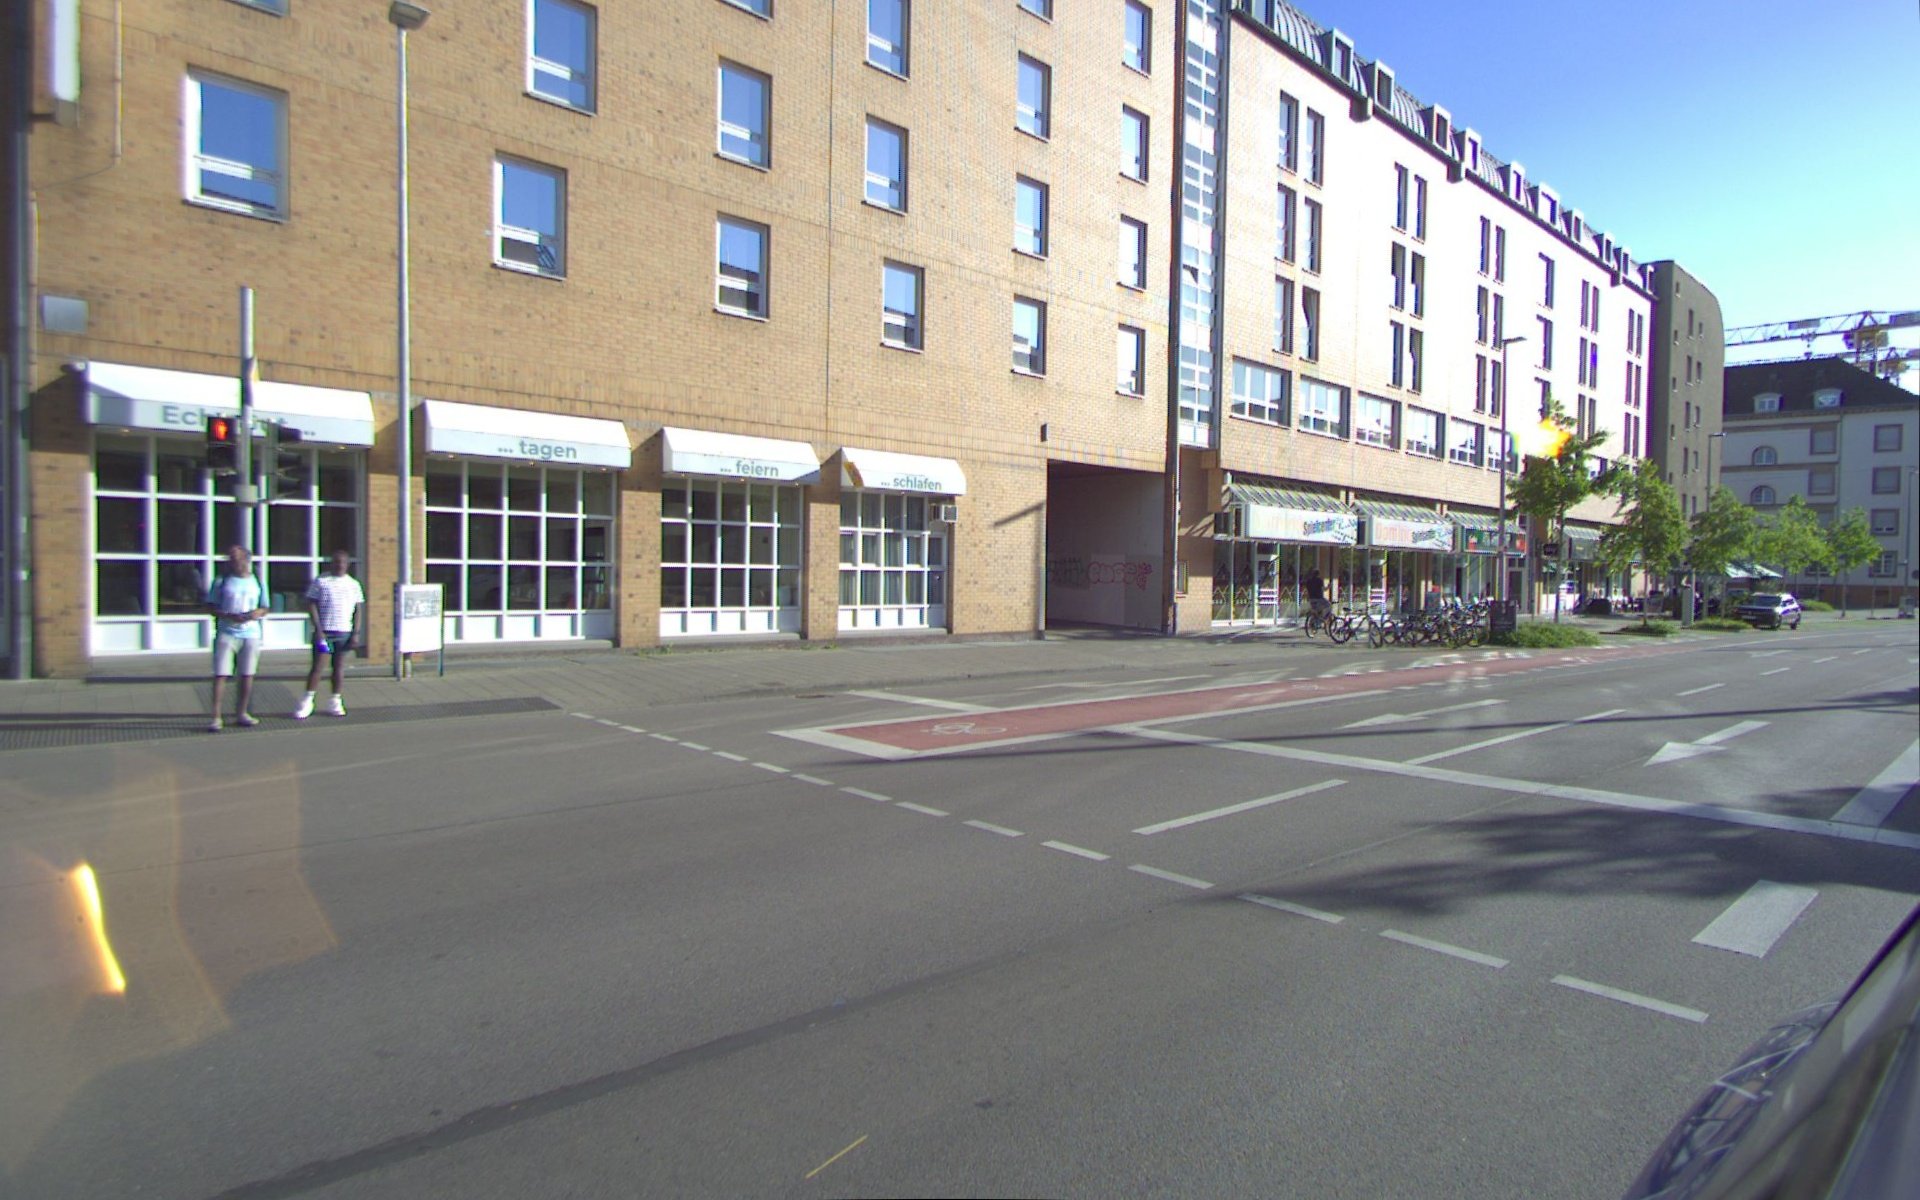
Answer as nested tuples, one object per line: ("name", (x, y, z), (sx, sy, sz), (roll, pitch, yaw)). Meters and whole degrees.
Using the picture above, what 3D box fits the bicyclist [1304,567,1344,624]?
("bicyclist", (10.371, -0.128, 28.817), (0.834, 1.533, 0.581), (2, 4, -36))

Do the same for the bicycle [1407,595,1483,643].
("bicycle", (13.146, 0.486, 27.474), (0.543, 1.155, 1.775), (-2, 4, -38))

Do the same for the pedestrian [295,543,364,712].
("pedestrian", (-6.831, 0.285, 10.982), (0.567, 1.795, 0.406), (1, 3, -21))

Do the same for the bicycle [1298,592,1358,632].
("bicycle", (10.547, 0.344, 28.982), (1.845, 1.062, 0.603), (0, 6, -35))

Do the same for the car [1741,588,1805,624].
("car", (36.956, 0.226, 45.968), (3.629, 1.549, 1.654), (-1, 1, -41))

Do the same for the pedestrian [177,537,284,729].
("pedestrian", (-7.353, 0.299, 10.223), (0.491, 1.855, 0.730), (2, 3, 14))

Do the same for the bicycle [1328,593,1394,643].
("bicycle", (10.510, 0.449, 26.591), (0.541, 1.162, 1.781), (0, 4, -20))

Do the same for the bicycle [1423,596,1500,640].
("bicycle", (14.012, 0.493, 28.320), (0.724, 1.084, 1.775), (-2, 4, -38))

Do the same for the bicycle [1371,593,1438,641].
("bicycle", (11.871, 0.433, 27.078), (0.541, 1.162, 1.781), (0, 4, -20))
